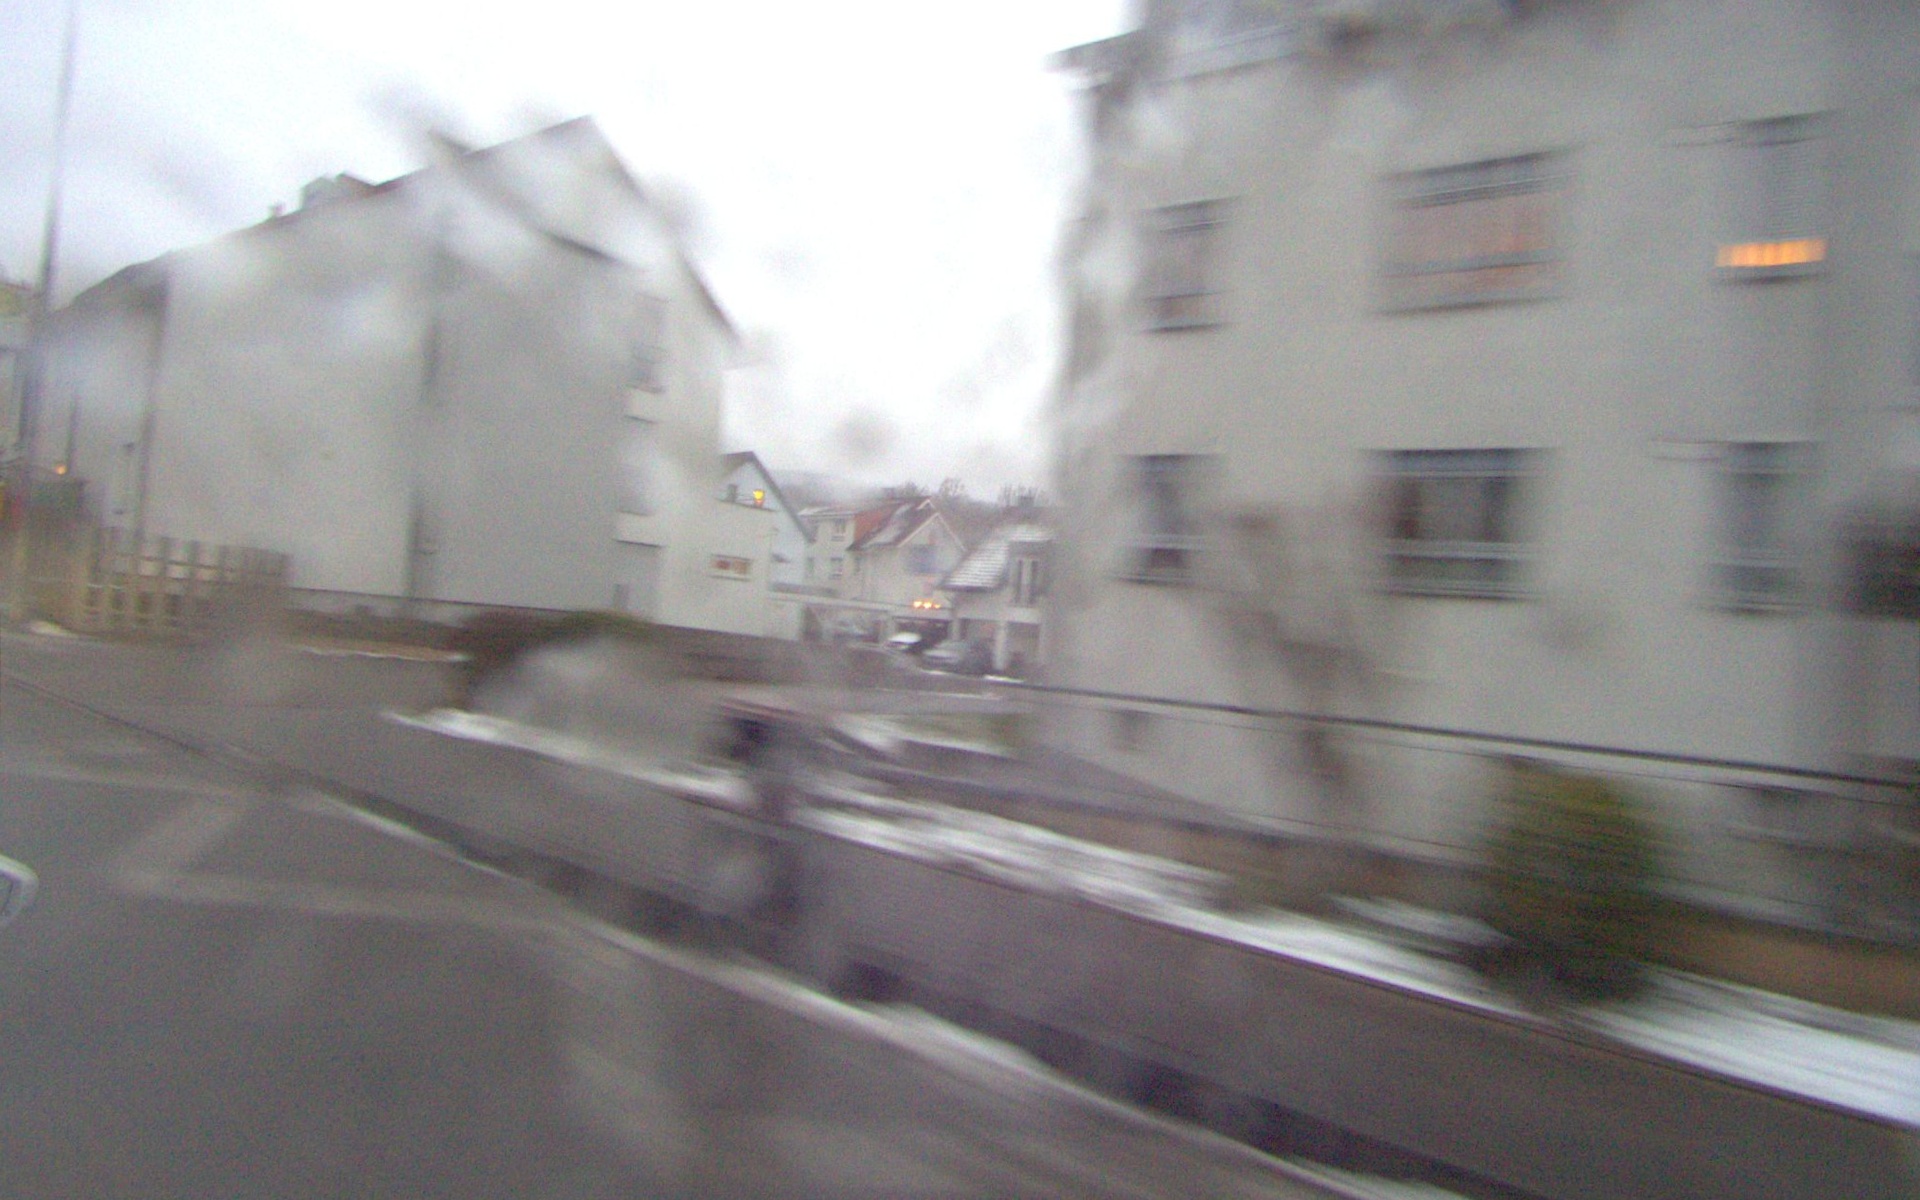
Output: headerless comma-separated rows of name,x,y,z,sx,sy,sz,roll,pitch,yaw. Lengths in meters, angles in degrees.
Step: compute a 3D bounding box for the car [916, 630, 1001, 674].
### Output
car,-0.026,2.277,43.561,1.773,1.609,3.993,7,0,30
